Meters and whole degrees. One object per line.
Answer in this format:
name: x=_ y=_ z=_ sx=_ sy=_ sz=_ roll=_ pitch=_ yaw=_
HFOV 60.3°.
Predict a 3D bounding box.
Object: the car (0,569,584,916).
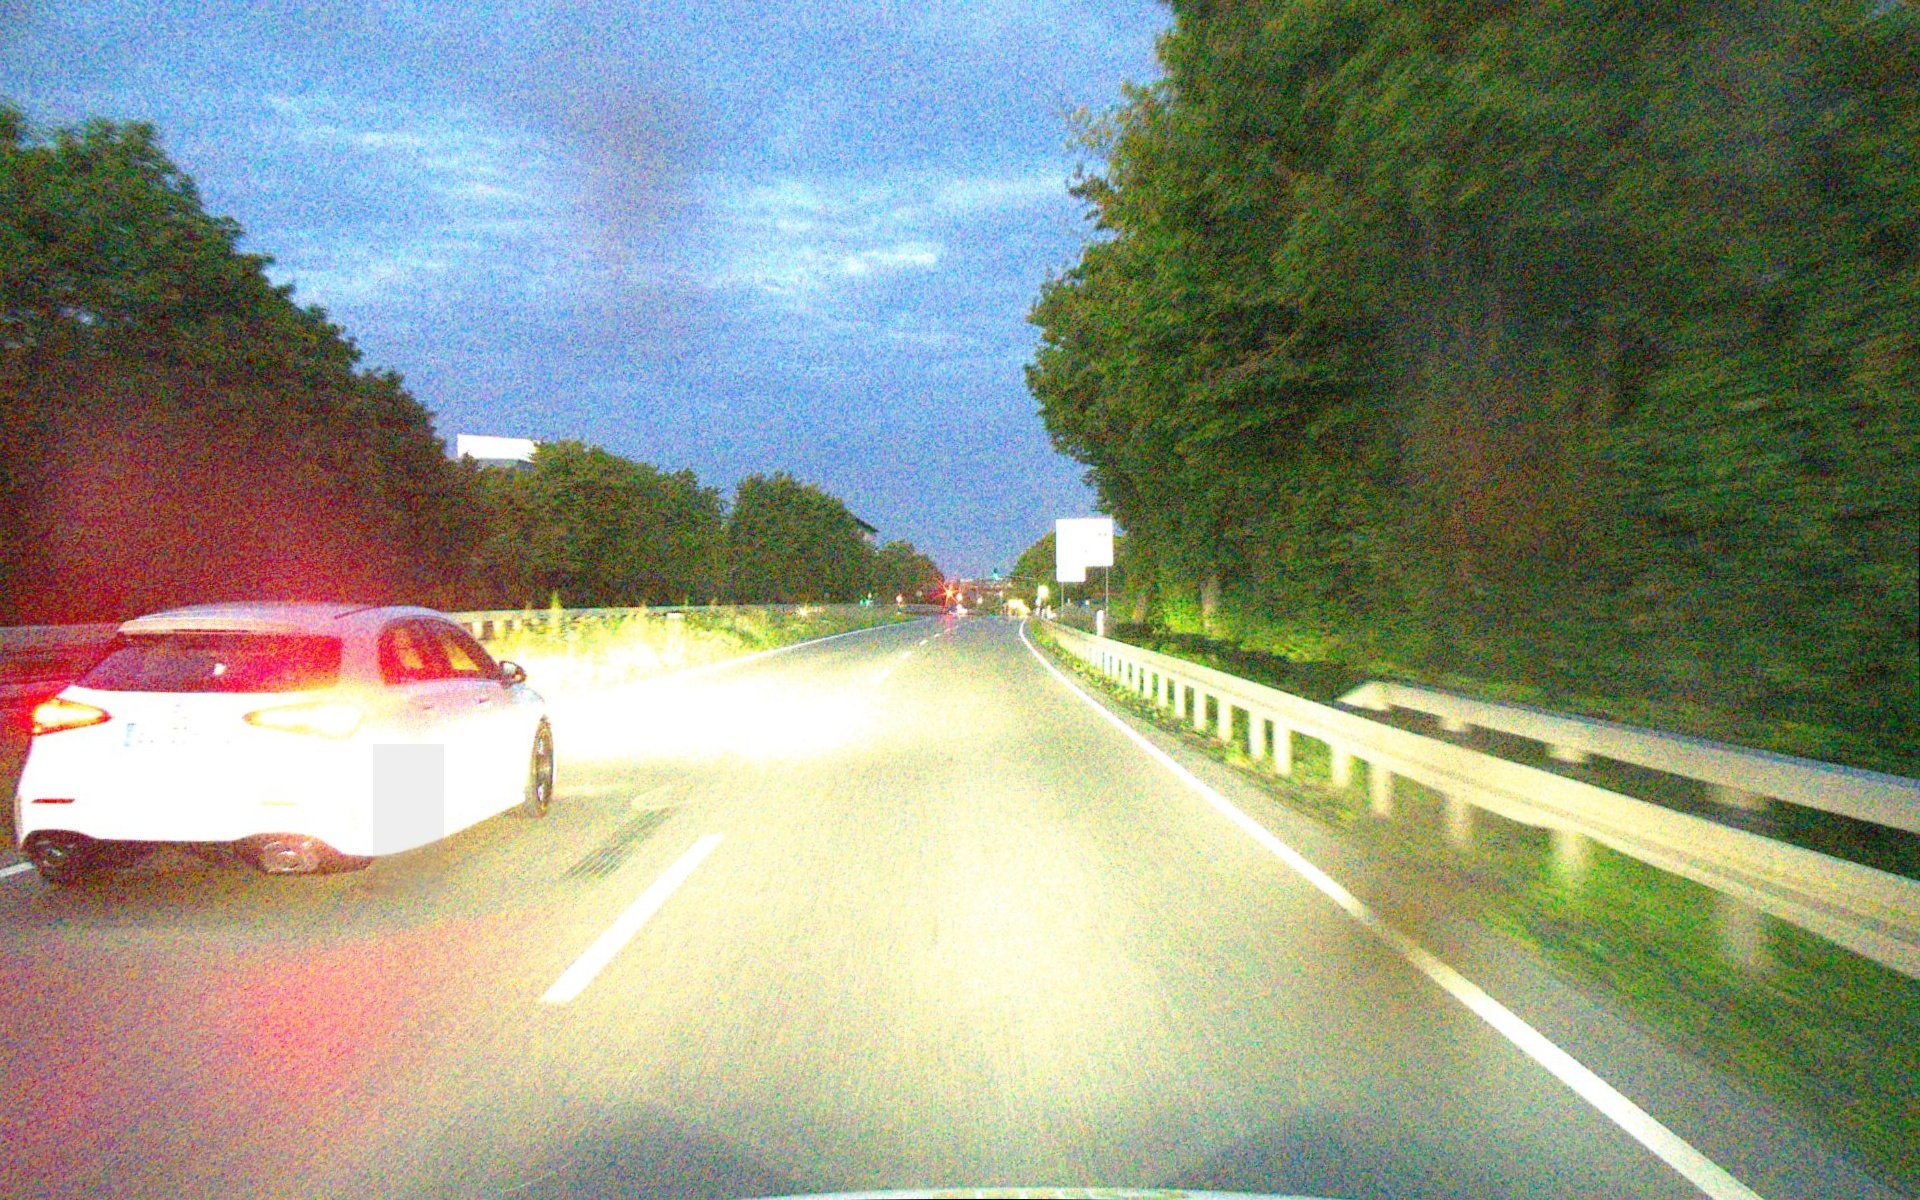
car: x=-3.471 y=0.629 z=9.602 sx=1.608 sy=1.516 sz=4.578 roll=1 pitch=0 yaw=-1
